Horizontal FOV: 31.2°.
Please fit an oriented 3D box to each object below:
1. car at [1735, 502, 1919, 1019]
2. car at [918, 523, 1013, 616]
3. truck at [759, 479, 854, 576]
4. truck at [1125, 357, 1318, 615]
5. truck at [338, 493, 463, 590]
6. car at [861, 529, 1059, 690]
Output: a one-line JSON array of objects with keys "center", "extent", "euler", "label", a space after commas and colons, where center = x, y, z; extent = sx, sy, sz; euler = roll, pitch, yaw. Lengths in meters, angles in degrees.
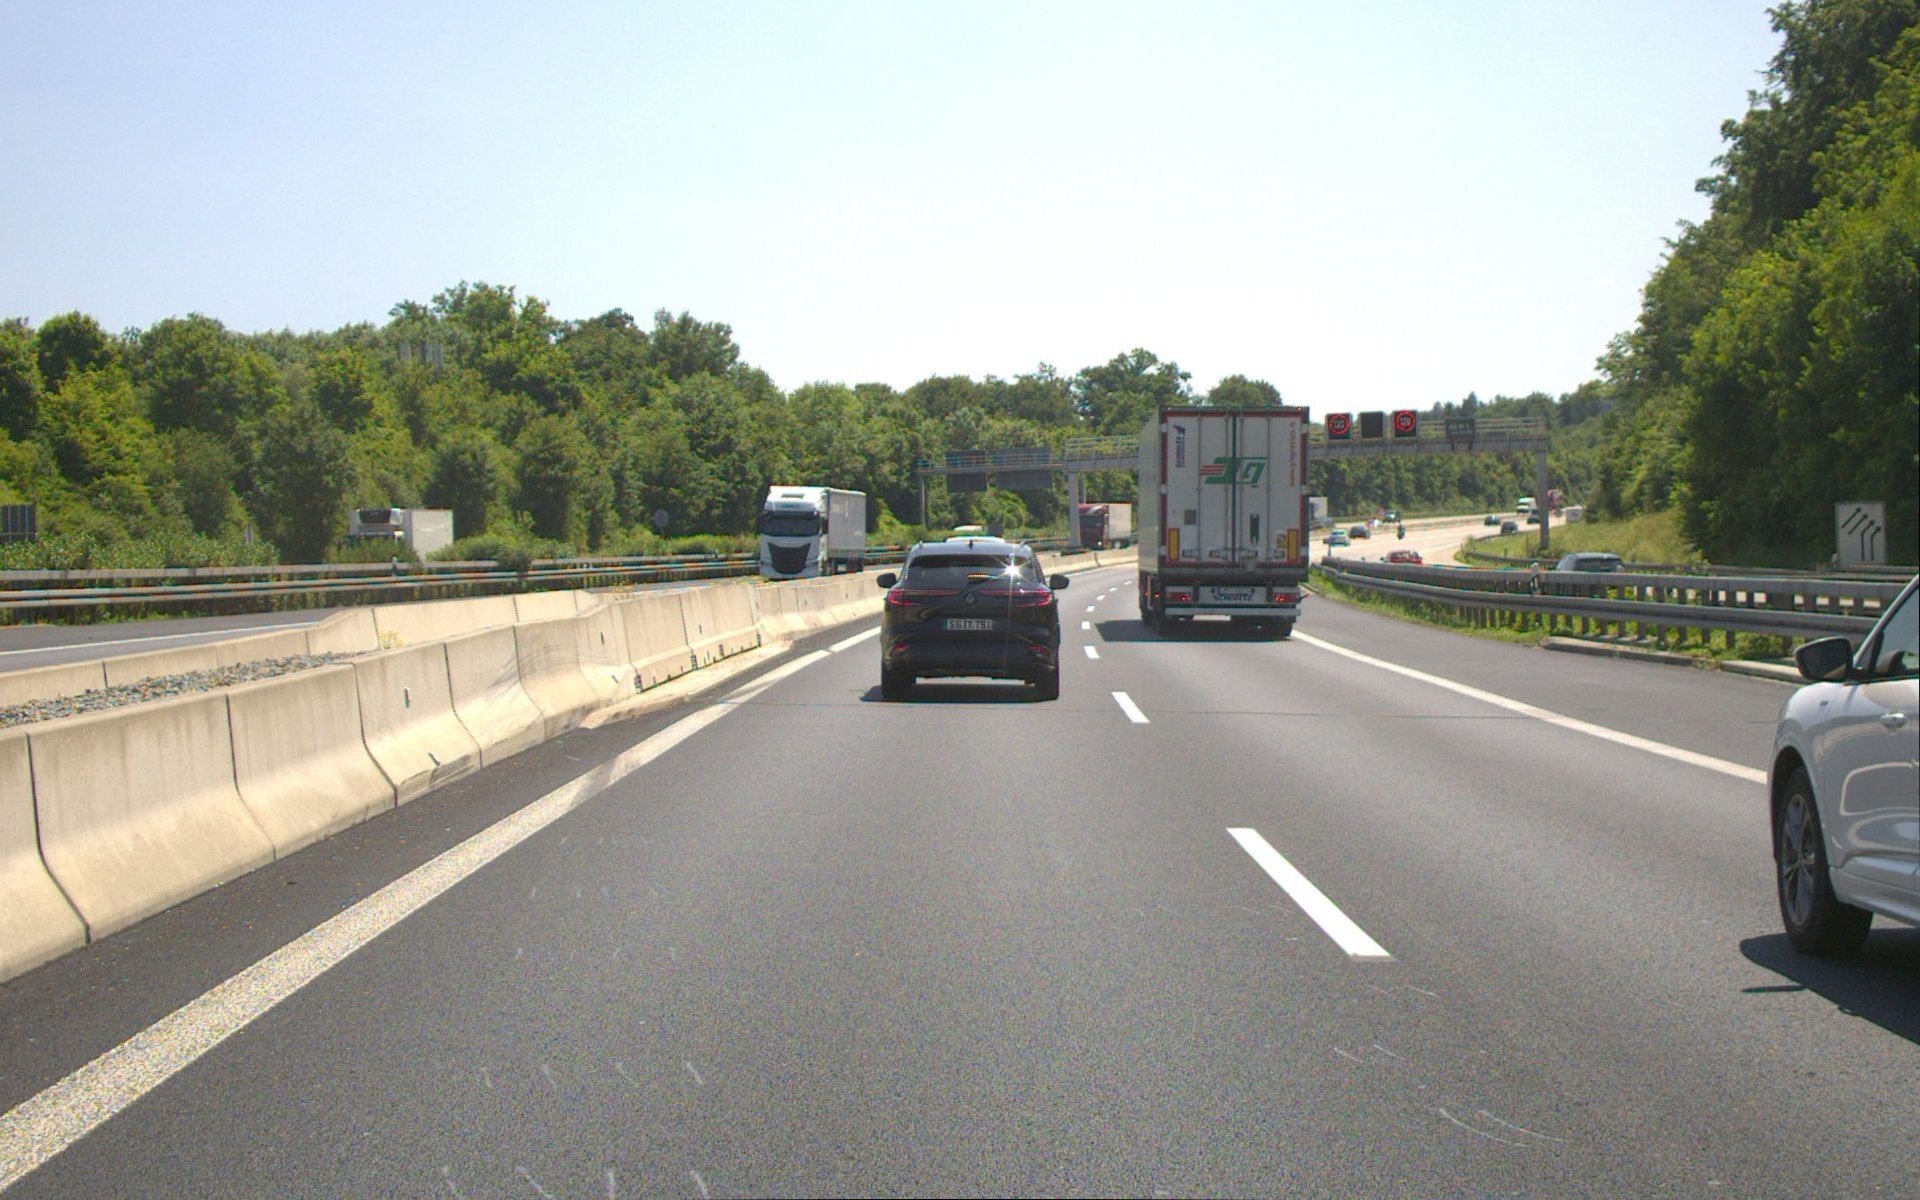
[{"center": [4.070, 0.512, 11.380], "extent": [1.993, 1.656, 4.468], "euler": [0, 0, 0], "label": "car"}, {"center": [0.097, -0.721, 80.254], "extent": [1.993, 2.007, 4.000], "euler": [-3, 1, -2], "label": "car"}, {"center": [-6.471, -2.996, 146.488], "extent": [2.698, 3.946, 10.775], "euler": [0, 0, 5], "label": "truck"}, {"center": [4.751, -1.966, 64.667], "extent": [3.032, 4.403, 12.018], "euler": [0, 0, 2], "label": "truck"}, {"center": [-23.402, -2.385, 144.393], "extent": [2.698, 3.946, 10.775], "euler": [0, 0, 5], "label": "truck"}, {"center": [-0.055, 0.087, 35.768], "extent": [1.779, 1.572, 4.001], "euler": [0, 0, -4], "label": "car"}]
